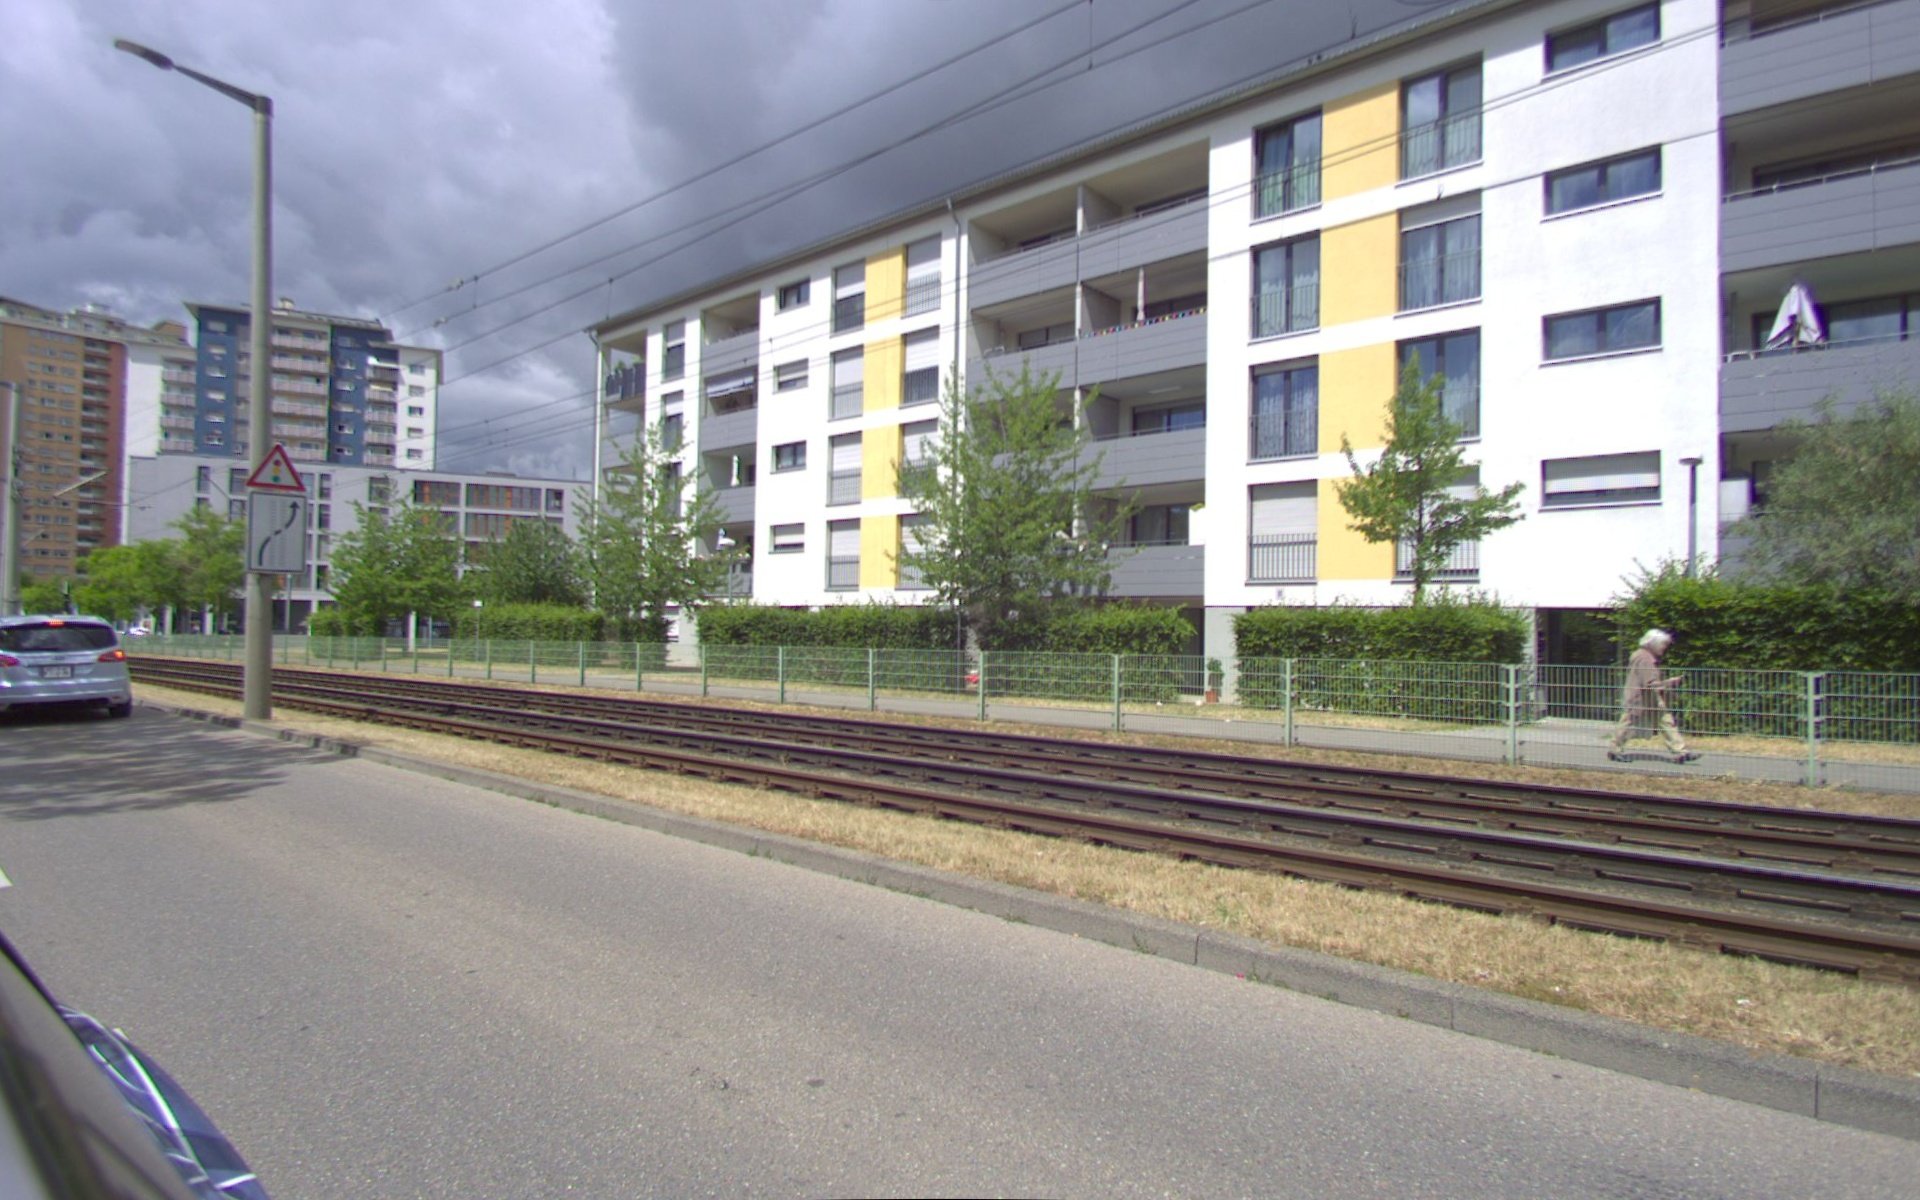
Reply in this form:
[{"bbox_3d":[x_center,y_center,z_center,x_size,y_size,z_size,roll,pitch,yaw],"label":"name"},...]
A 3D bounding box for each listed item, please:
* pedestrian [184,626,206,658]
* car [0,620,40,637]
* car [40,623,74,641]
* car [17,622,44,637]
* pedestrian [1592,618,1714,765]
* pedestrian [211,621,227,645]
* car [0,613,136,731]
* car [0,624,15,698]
[{"bbox_3d":[-40.228,2.205,53.214,0.937,1.625,0.746,-1,-2,40],"label":"pedestrian"},{"bbox_3d":[-108.531,3.254,116.112,1.855,1.940,4.497,0,-1,-1],"label":"car"},{"bbox_3d":[-81.028,2.861,90.787,3.800,1.551,1.759,-1,-2,40],"label":"car"},{"bbox_3d":[-104.666,3.303,113.911,3.800,1.672,1.759,-1,-2,40],"label":"car"},{"bbox_3d":[7.477,0.945,10.926,0.995,1.494,0.788,-1,-2,40],"label":"pedestrian"},{"bbox_3d":[-50.739,2.247,69.301,0.538,1.666,0.740,-1,-2,40],"label":"pedestrian"},{"bbox_3d":[-14.691,1.038,16.012,4.599,1.626,1.798,-1,-1,41],"label":"car"},{"bbox_3d":[-21.998,1.291,21.840,4.833,1.514,1.799,-1,-1,40],"label":"car"}]
